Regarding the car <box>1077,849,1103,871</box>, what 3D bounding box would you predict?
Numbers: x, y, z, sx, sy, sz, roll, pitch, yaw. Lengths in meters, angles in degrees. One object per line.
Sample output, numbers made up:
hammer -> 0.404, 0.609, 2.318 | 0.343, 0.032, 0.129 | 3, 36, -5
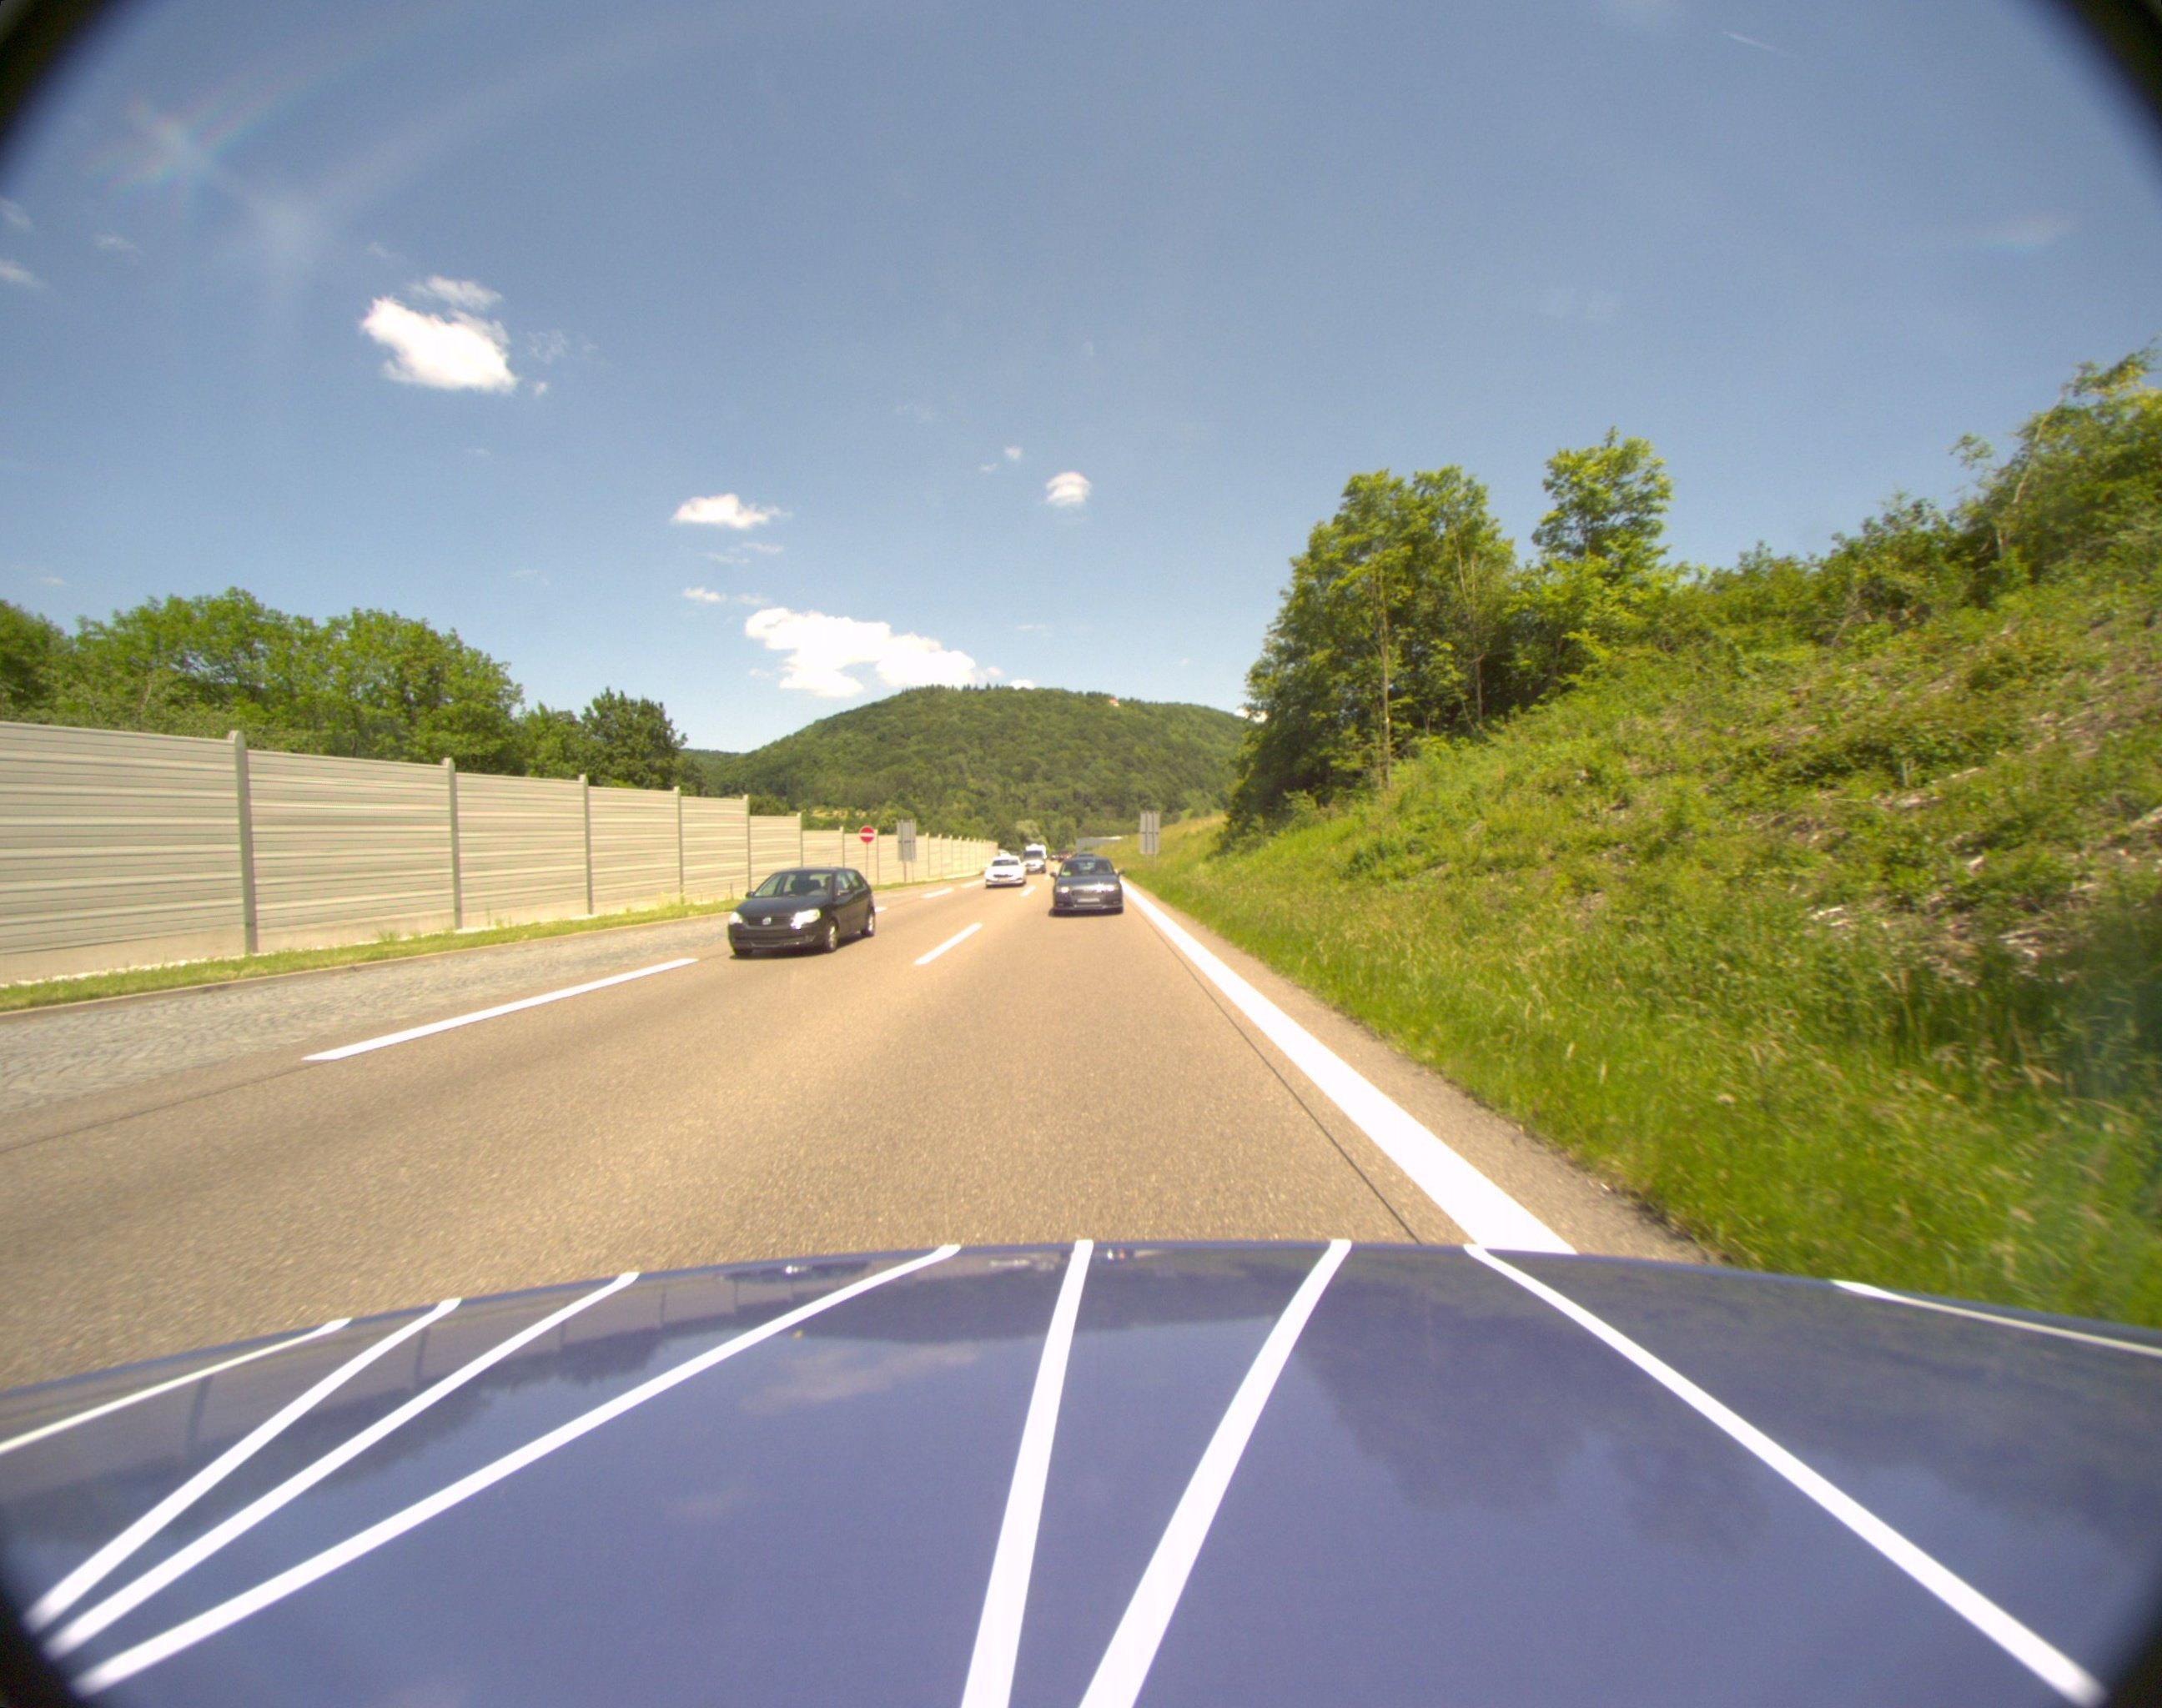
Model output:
car -> 0.644, 0.402, 53.517 | 1.696, 1.422, 3.463 | -3, 1, 1

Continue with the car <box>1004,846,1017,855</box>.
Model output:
car -> -17.131, -0.886, 184.456 | 2.002, 2.002, 3.993 | -4, 1, -20

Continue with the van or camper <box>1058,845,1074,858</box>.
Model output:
van or camper -> -2.163, -0.373, 110.253 | 1.818, 1.856, 3.610 | -4, 1, -7

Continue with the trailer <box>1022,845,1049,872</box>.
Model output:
trailer -> -3.621, 0.325, 60.587 | 1.999, 1.958, 3.998 | -2, 1, -3

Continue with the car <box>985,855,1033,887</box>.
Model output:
car -> -3.427, 0.769, 36.770 | 1.907, 1.422, 3.722 | -2, 0, 0

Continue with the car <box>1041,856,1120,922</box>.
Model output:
car -> 0.088, 0.816, 19.565 | 1.755, 1.382, 4.055 | -3, 0, 3

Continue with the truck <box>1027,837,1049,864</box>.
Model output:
truck -> -5.733, -0.494, 100.319 | 2.603, 3.090, 6.854 | -6, 1, -4

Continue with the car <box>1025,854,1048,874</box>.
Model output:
car -> -3.314, 0.689, 56.768 | 1.489, 1.375, 3.738 | -1, 1, -1

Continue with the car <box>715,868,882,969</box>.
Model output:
car -> -4.933, 1.045, 13.866 | 1.696, 1.414, 3.837 | -2, 1, -2
